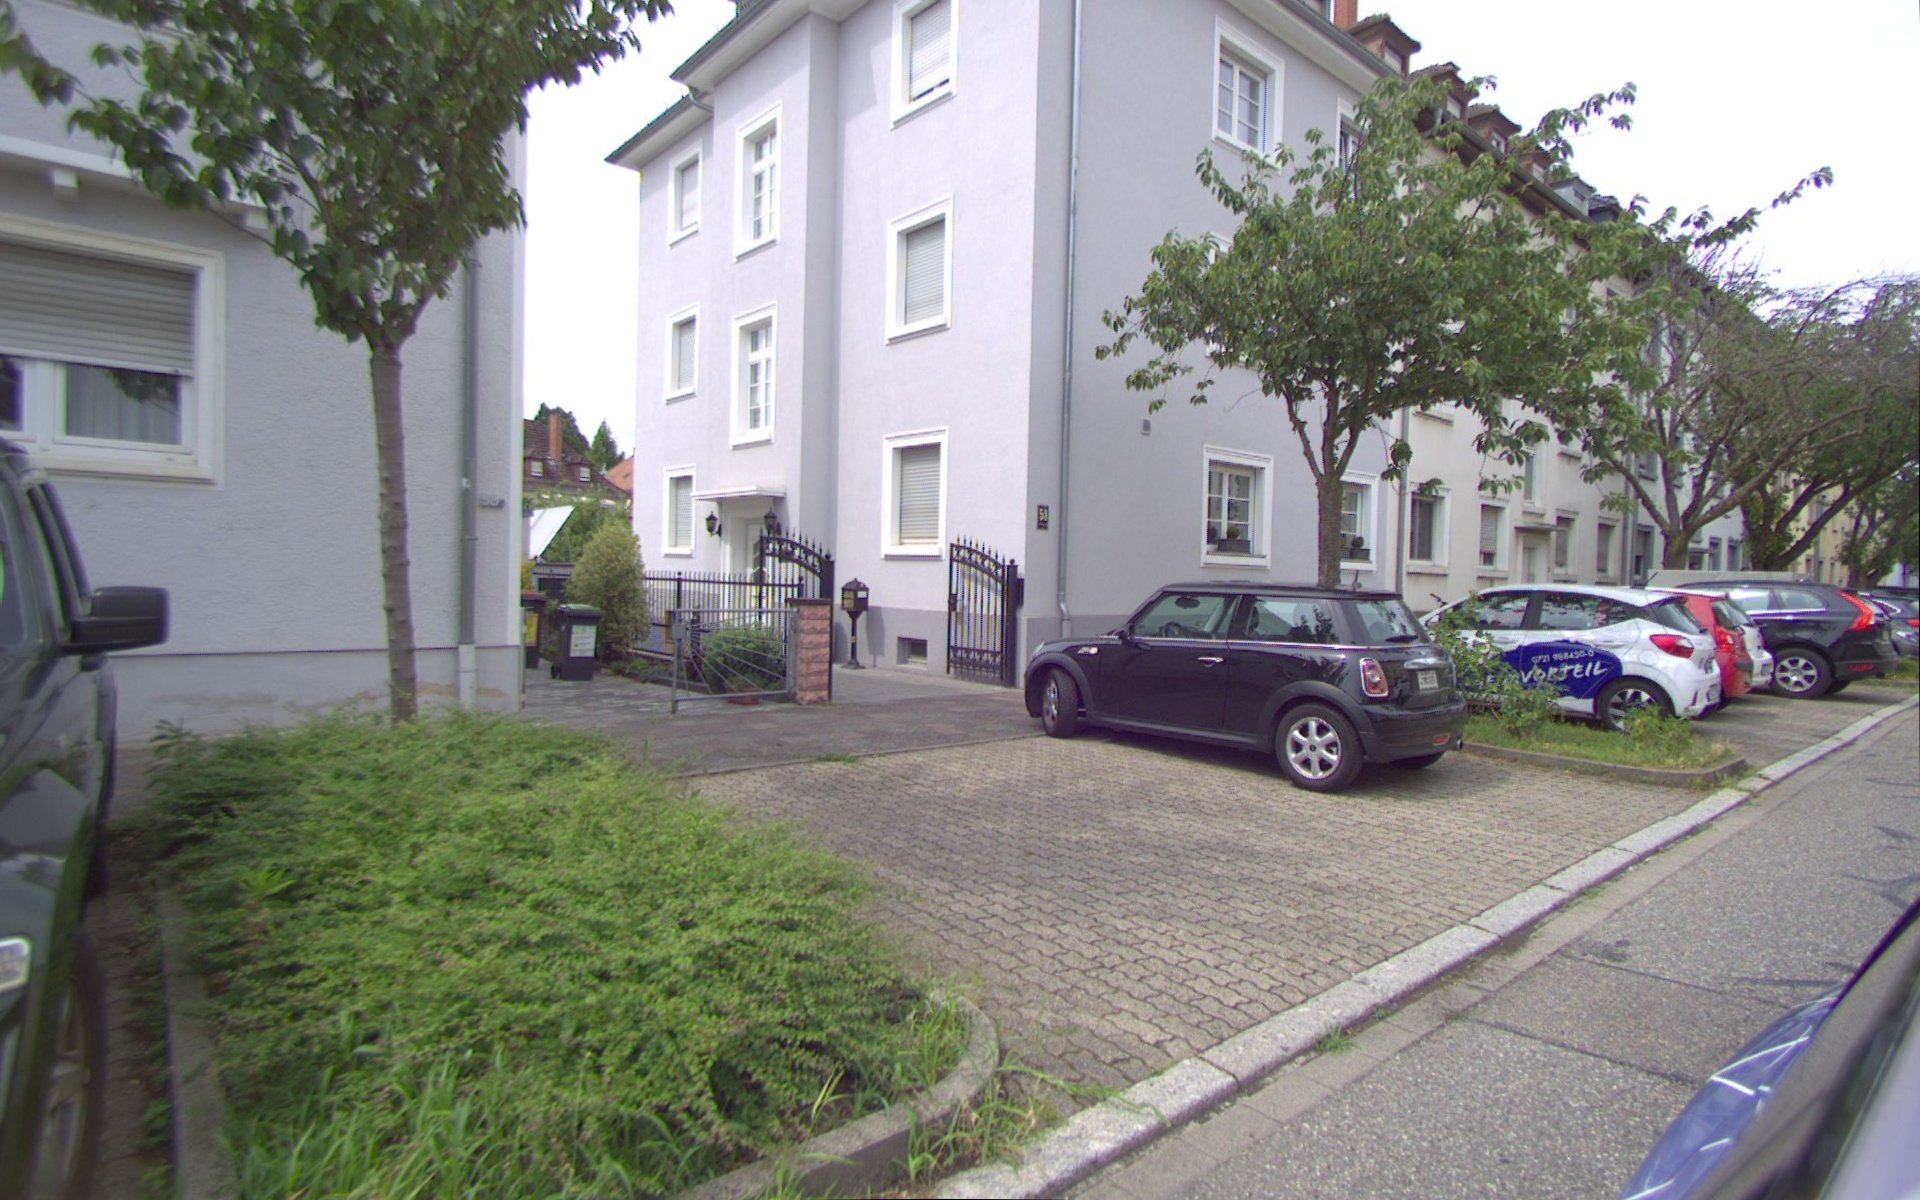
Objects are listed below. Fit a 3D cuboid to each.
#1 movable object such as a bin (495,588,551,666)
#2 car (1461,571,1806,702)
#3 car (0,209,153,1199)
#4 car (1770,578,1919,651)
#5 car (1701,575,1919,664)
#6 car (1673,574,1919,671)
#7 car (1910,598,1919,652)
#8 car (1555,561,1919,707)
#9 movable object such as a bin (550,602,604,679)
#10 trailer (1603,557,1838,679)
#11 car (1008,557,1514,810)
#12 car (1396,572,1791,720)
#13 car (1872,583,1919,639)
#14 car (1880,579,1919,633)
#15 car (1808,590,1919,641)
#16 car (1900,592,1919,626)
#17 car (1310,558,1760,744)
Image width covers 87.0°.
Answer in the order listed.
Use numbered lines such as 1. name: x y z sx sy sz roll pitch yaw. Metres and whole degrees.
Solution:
1. movable object such as a bin: -6.071 0.365 14.060 0.596 1.021 0.515 1 2 -36
2. car: 9.661 0.419 14.748 1.831 1.459 3.758 0 4 -39
3. car: -3.297 0.269 2.639 1.760 1.880 4.540 0 4 -38
4. car: 24.774 0.391 27.246 1.869 1.698 4.228 0 4 -38
5. car: 19.312 0.383 22.507 1.871 1.617 4.223 0 4 -42
6. car: 17.479 0.390 20.827 1.871 1.617 4.223 0 4 -42
7. car: 27.930 0.815 26.678 1.735 1.472 3.997 0 4 -41
8. car: 11.881 0.394 15.585 1.869 1.756 4.228 0 4 -38
9. movable object such as a bin: -4.758 0.490 12.580 0.471 0.911 0.514 1 2 -40
10. trailer: 13.356 0.239 17.894 1.374 1.853 2.971 1 4 -37
11. car: 2.285 0.471 8.330 1.777 1.470 3.551 0 4 -41
12. car: 8.065 0.463 13.163 1.738 1.427 3.994 0 4 -43
13. car: 29.164 0.415 29.187 1.609 1.554 3.997 0 4 -41
14. car: 39.268 0.377 39.162 2.039 2.047 5.236 0 4 -44
15. car: 29.953 0.514 32.441 1.609 1.437 3.997 0 4 -41
16. car: 45.731 0.534 45.746 1.819 1.528 4.556 0 4 -42
17. car: 6.247 0.409 11.340 1.738 1.548 3.994 0 4 -43
